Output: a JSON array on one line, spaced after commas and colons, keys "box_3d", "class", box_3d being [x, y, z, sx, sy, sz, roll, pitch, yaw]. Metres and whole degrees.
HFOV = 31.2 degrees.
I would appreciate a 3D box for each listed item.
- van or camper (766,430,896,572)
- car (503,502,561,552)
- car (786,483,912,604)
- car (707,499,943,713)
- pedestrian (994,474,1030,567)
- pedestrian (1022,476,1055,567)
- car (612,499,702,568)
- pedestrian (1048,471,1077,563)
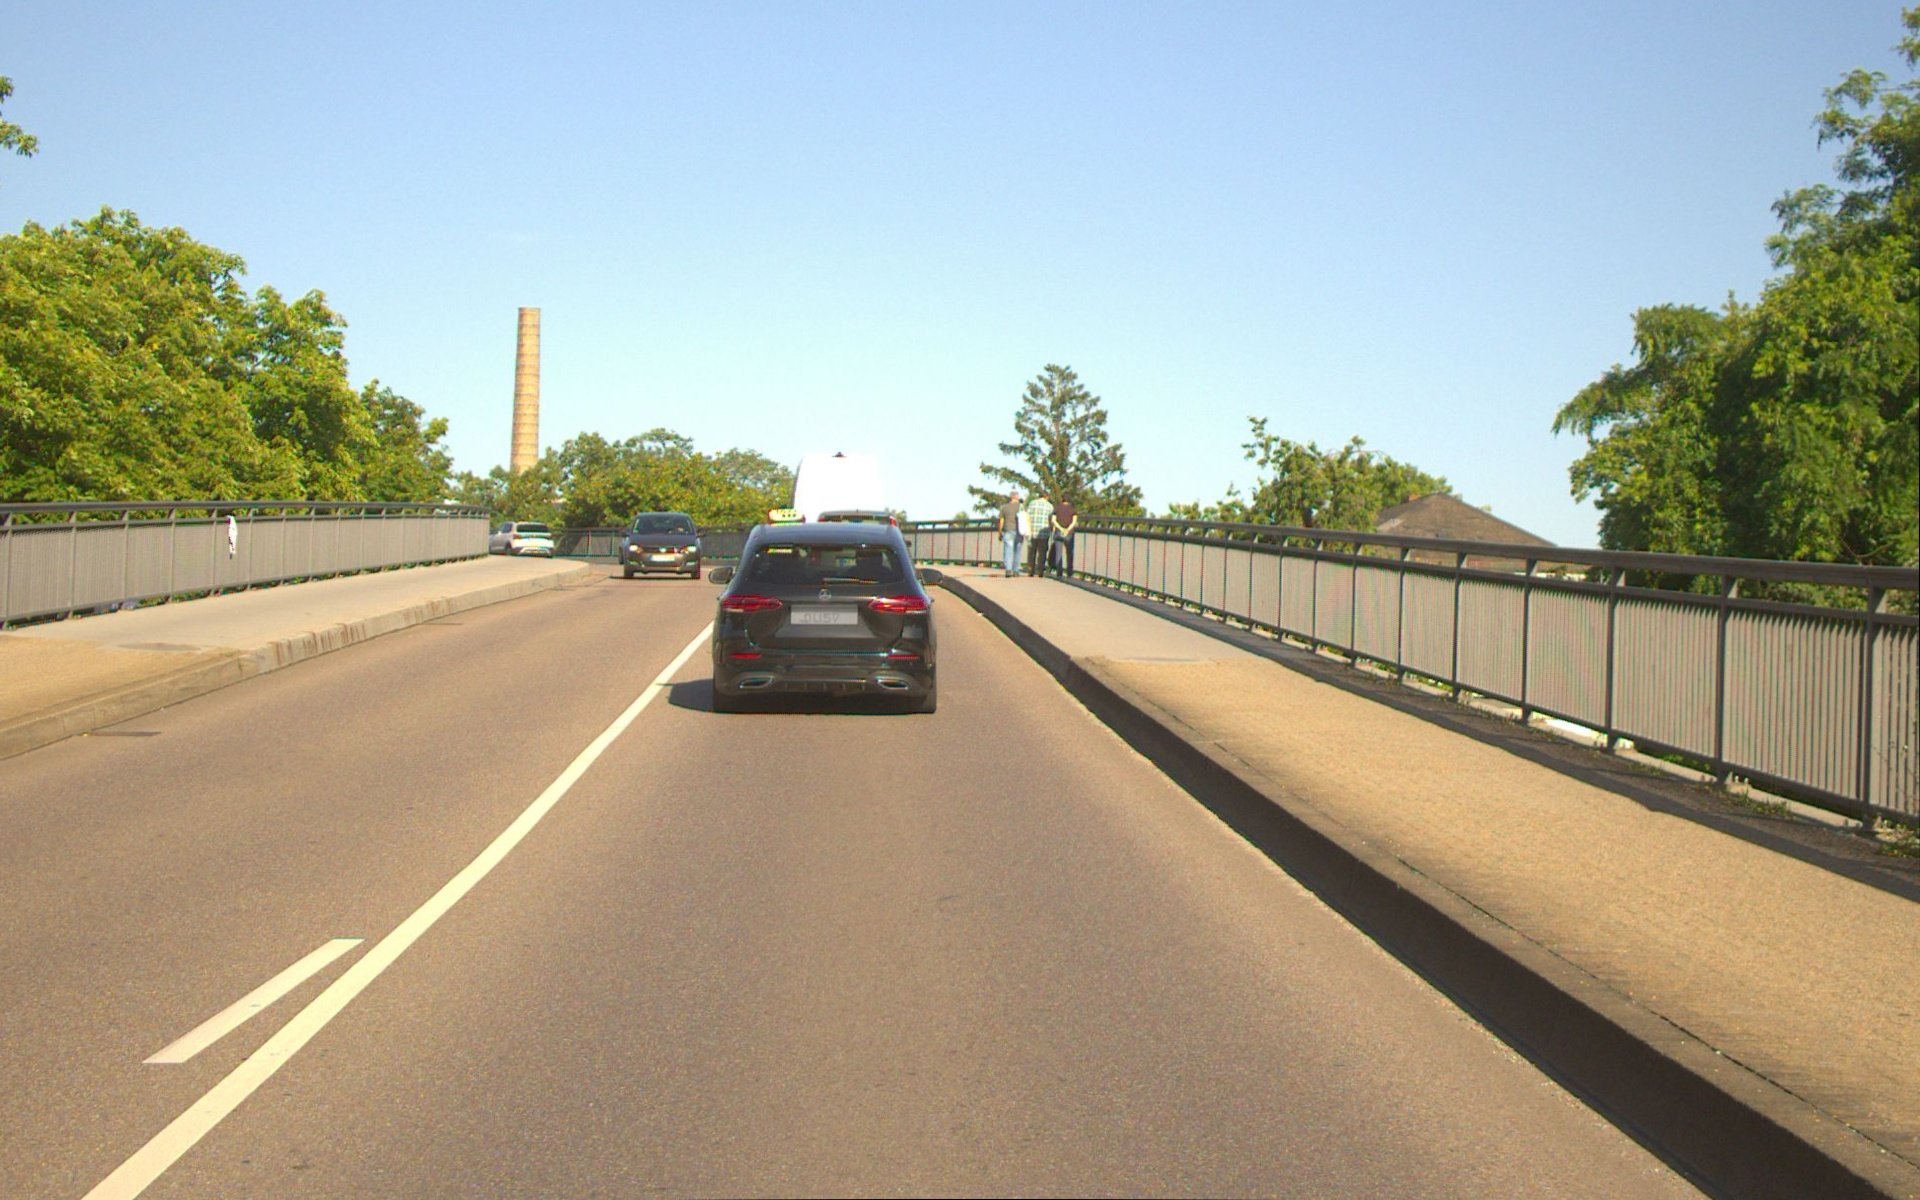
[{"box_3d": [-2.857, -2.062, 74.285, 2.226, 2.730, 7.081, 2, -1, -6], "class": "van or camper"}, {"box_3d": [-16.456, -2.798, 132.396, 1.993, 1.674, 4.000, 1, -2, -4], "class": "car"}, {"box_3d": [-1.718, -0.857, 54.273, 1.804, 1.634, 3.999, 2, -2, 0], "class": "car"}, {"box_3d": [-1.177, -0.007, 28.632, 1.769, 1.587, 3.990, 2, 2, -4], "class": "car"}, {"box_3d": [0.992, -1.521, 66.083, 0.602, 1.744, 0.717, 2, -1, -2], "class": "pedestrian"}, {"box_3d": [1.521, -1.523, 66.910, 0.549, 1.744, 0.738, 2, -1, -2], "class": "pedestrian"}, {"box_3d": [-6.585, -1.461, 75.012, 1.769, 1.469, 3.990, 0, 1, -2], "class": "car"}, {"box_3d": [1.969, -1.594, 66.117, 0.471, 1.744, 0.654, 2, -1, -2], "class": "pedestrian"}]
